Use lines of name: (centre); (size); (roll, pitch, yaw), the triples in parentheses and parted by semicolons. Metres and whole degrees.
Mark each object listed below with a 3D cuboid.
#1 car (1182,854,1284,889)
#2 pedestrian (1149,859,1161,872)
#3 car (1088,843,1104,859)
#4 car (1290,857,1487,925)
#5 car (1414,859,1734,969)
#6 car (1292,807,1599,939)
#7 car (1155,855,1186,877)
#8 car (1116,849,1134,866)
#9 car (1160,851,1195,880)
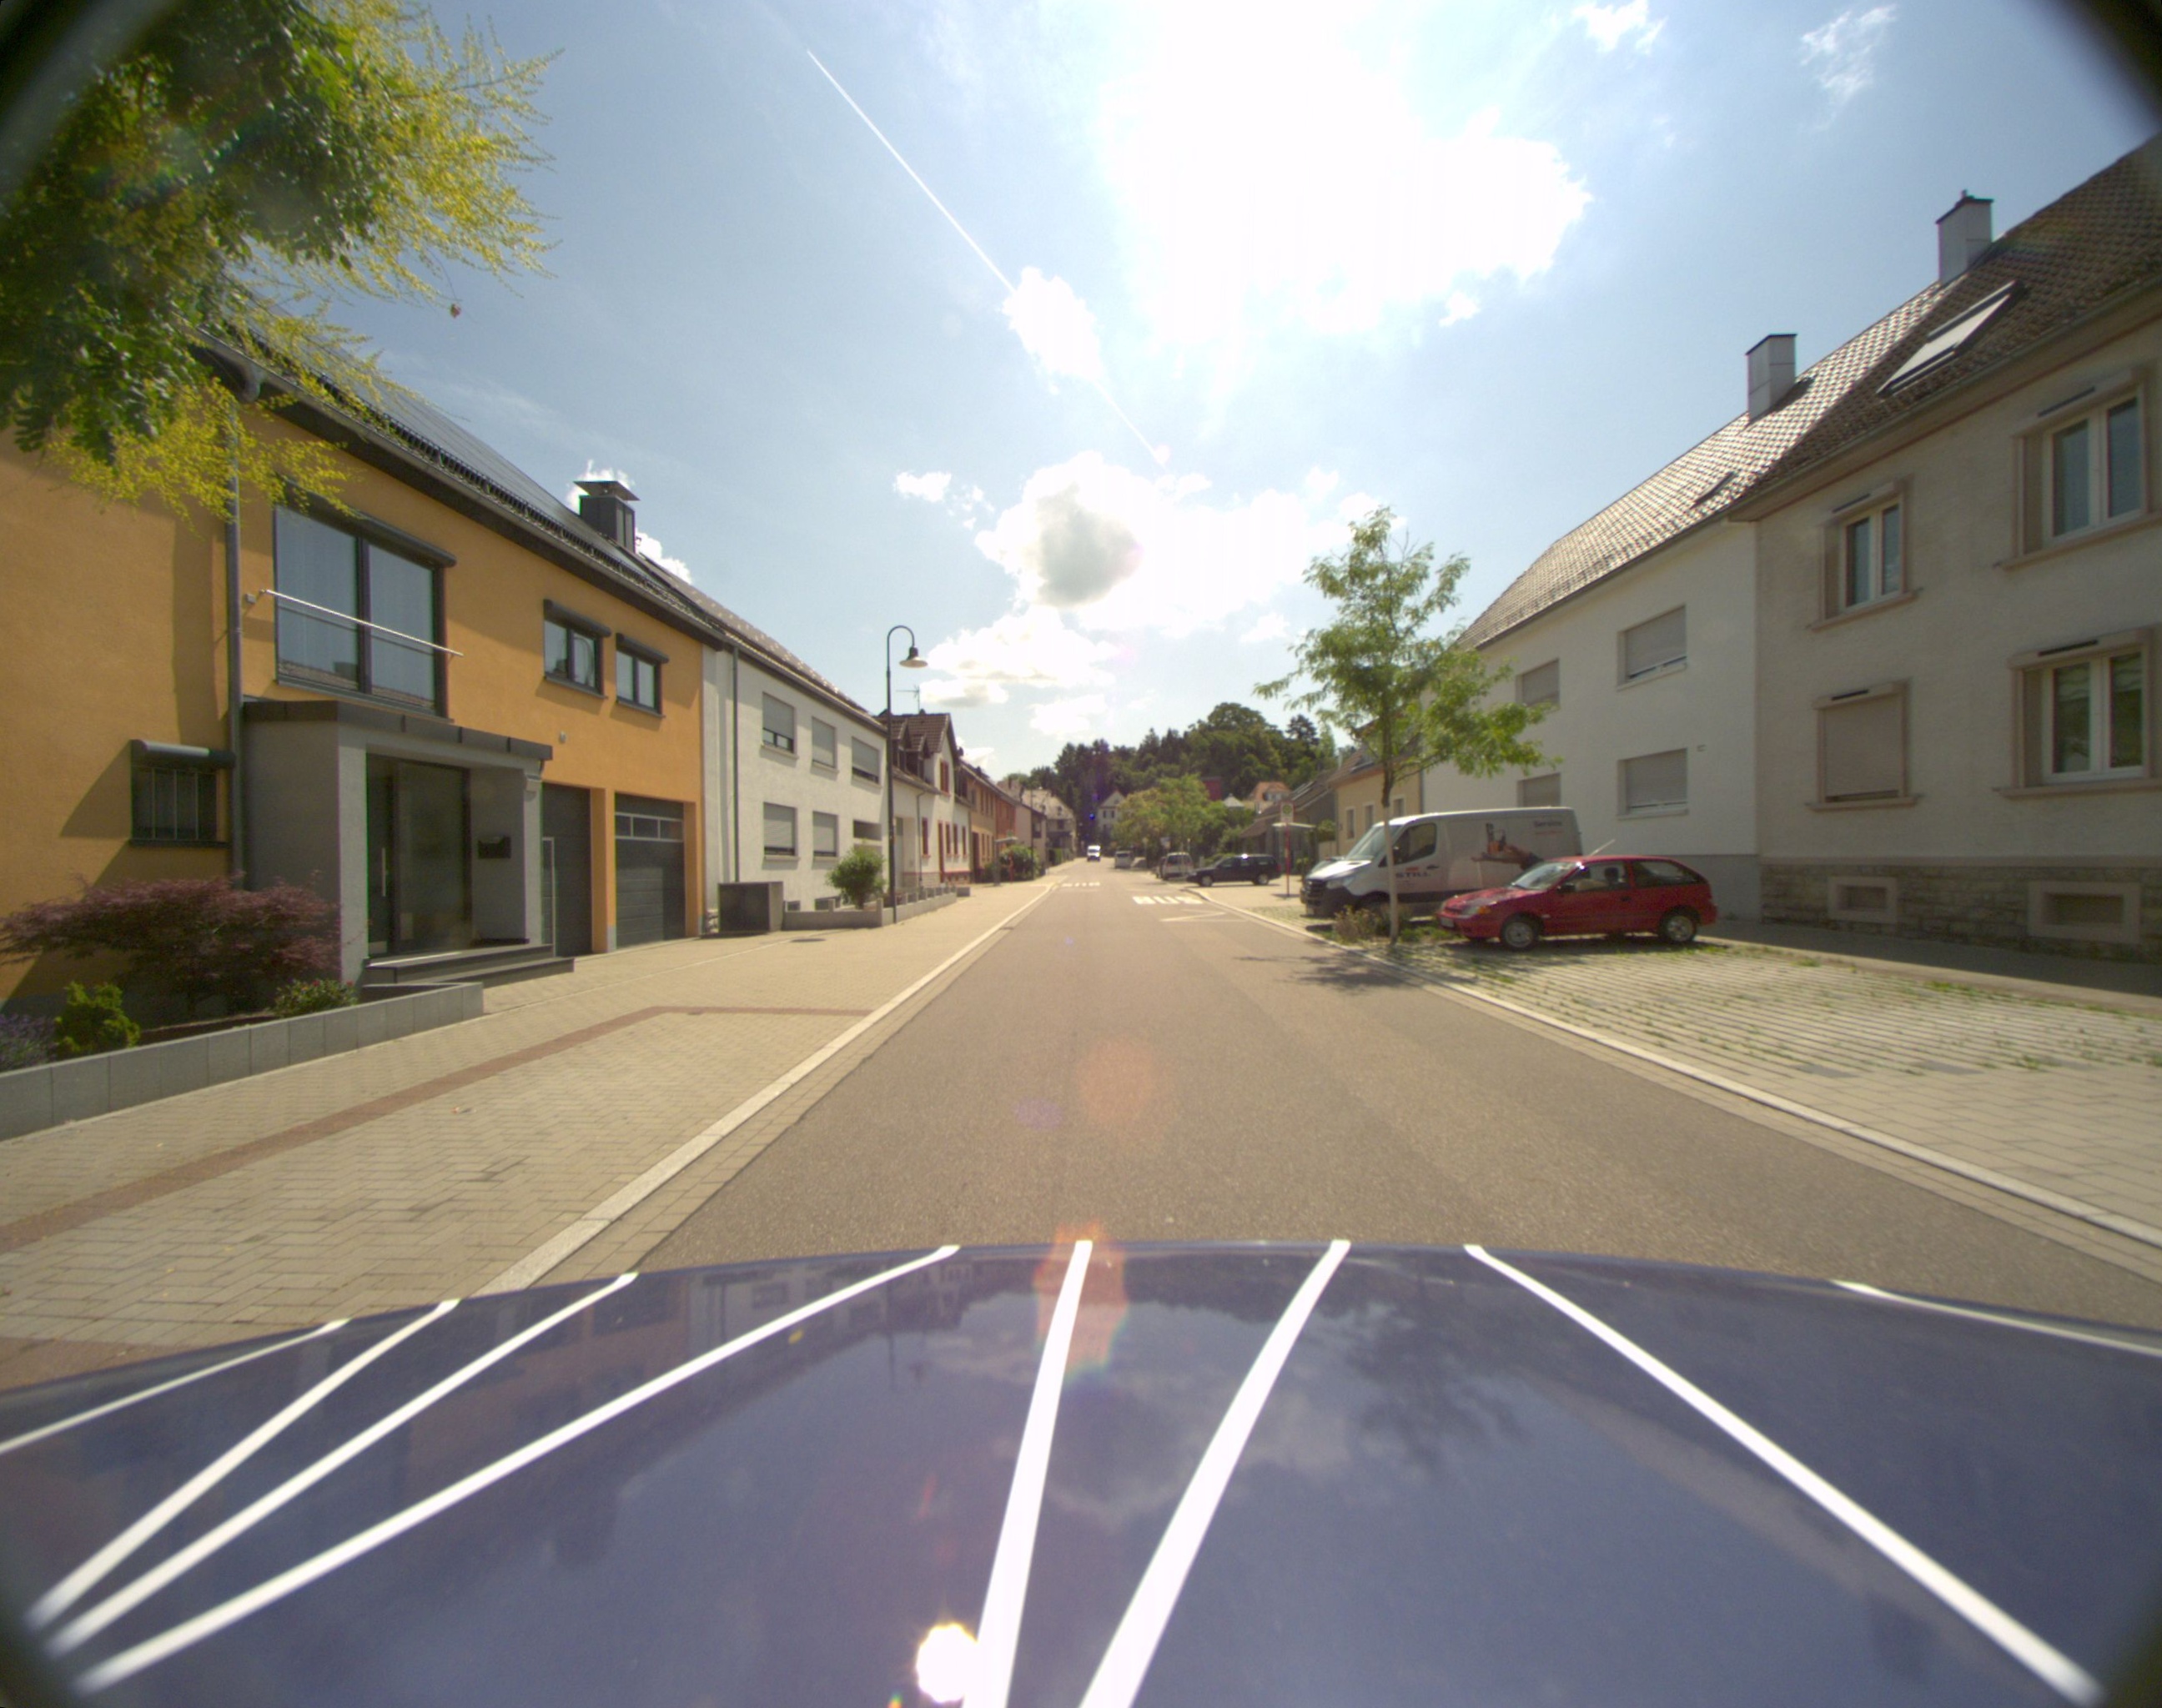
car: (7.418, 0.815, 37.324); (4.598, 1.508, 1.901); (-2, 0, 1)
pedestrian: (6.601, 1.039, 67.797); (0.815, 1.135, 0.885); (-3, 1, -3)
car: (2.424, -0.483, 122.420); (2.489, 2.306, 5.599); (-3, 1, 1)
car: (7.380, 0.855, 18.497); (3.997, 1.437, 1.901); (-2, 0, -1)
car: (7.454, 0.872, 11.775); (3.792, 1.377, 1.725); (-3, 1, 2)
car: (7.257, 0.364, 15.555); (5.179, 2.275, 2.157); (-3, 0, -1)
car: (6.468, 0.877, 55.228); (1.727, 1.515, 3.909); (-3, -1, 0)
car: (5.379, 0.430, 93.385); (1.998, 1.968, 3.999); (-1, 1, 0)
car: (6.199, 0.737, 49.270); (1.844, 1.737, 4.687); (-3, -1, 3)
